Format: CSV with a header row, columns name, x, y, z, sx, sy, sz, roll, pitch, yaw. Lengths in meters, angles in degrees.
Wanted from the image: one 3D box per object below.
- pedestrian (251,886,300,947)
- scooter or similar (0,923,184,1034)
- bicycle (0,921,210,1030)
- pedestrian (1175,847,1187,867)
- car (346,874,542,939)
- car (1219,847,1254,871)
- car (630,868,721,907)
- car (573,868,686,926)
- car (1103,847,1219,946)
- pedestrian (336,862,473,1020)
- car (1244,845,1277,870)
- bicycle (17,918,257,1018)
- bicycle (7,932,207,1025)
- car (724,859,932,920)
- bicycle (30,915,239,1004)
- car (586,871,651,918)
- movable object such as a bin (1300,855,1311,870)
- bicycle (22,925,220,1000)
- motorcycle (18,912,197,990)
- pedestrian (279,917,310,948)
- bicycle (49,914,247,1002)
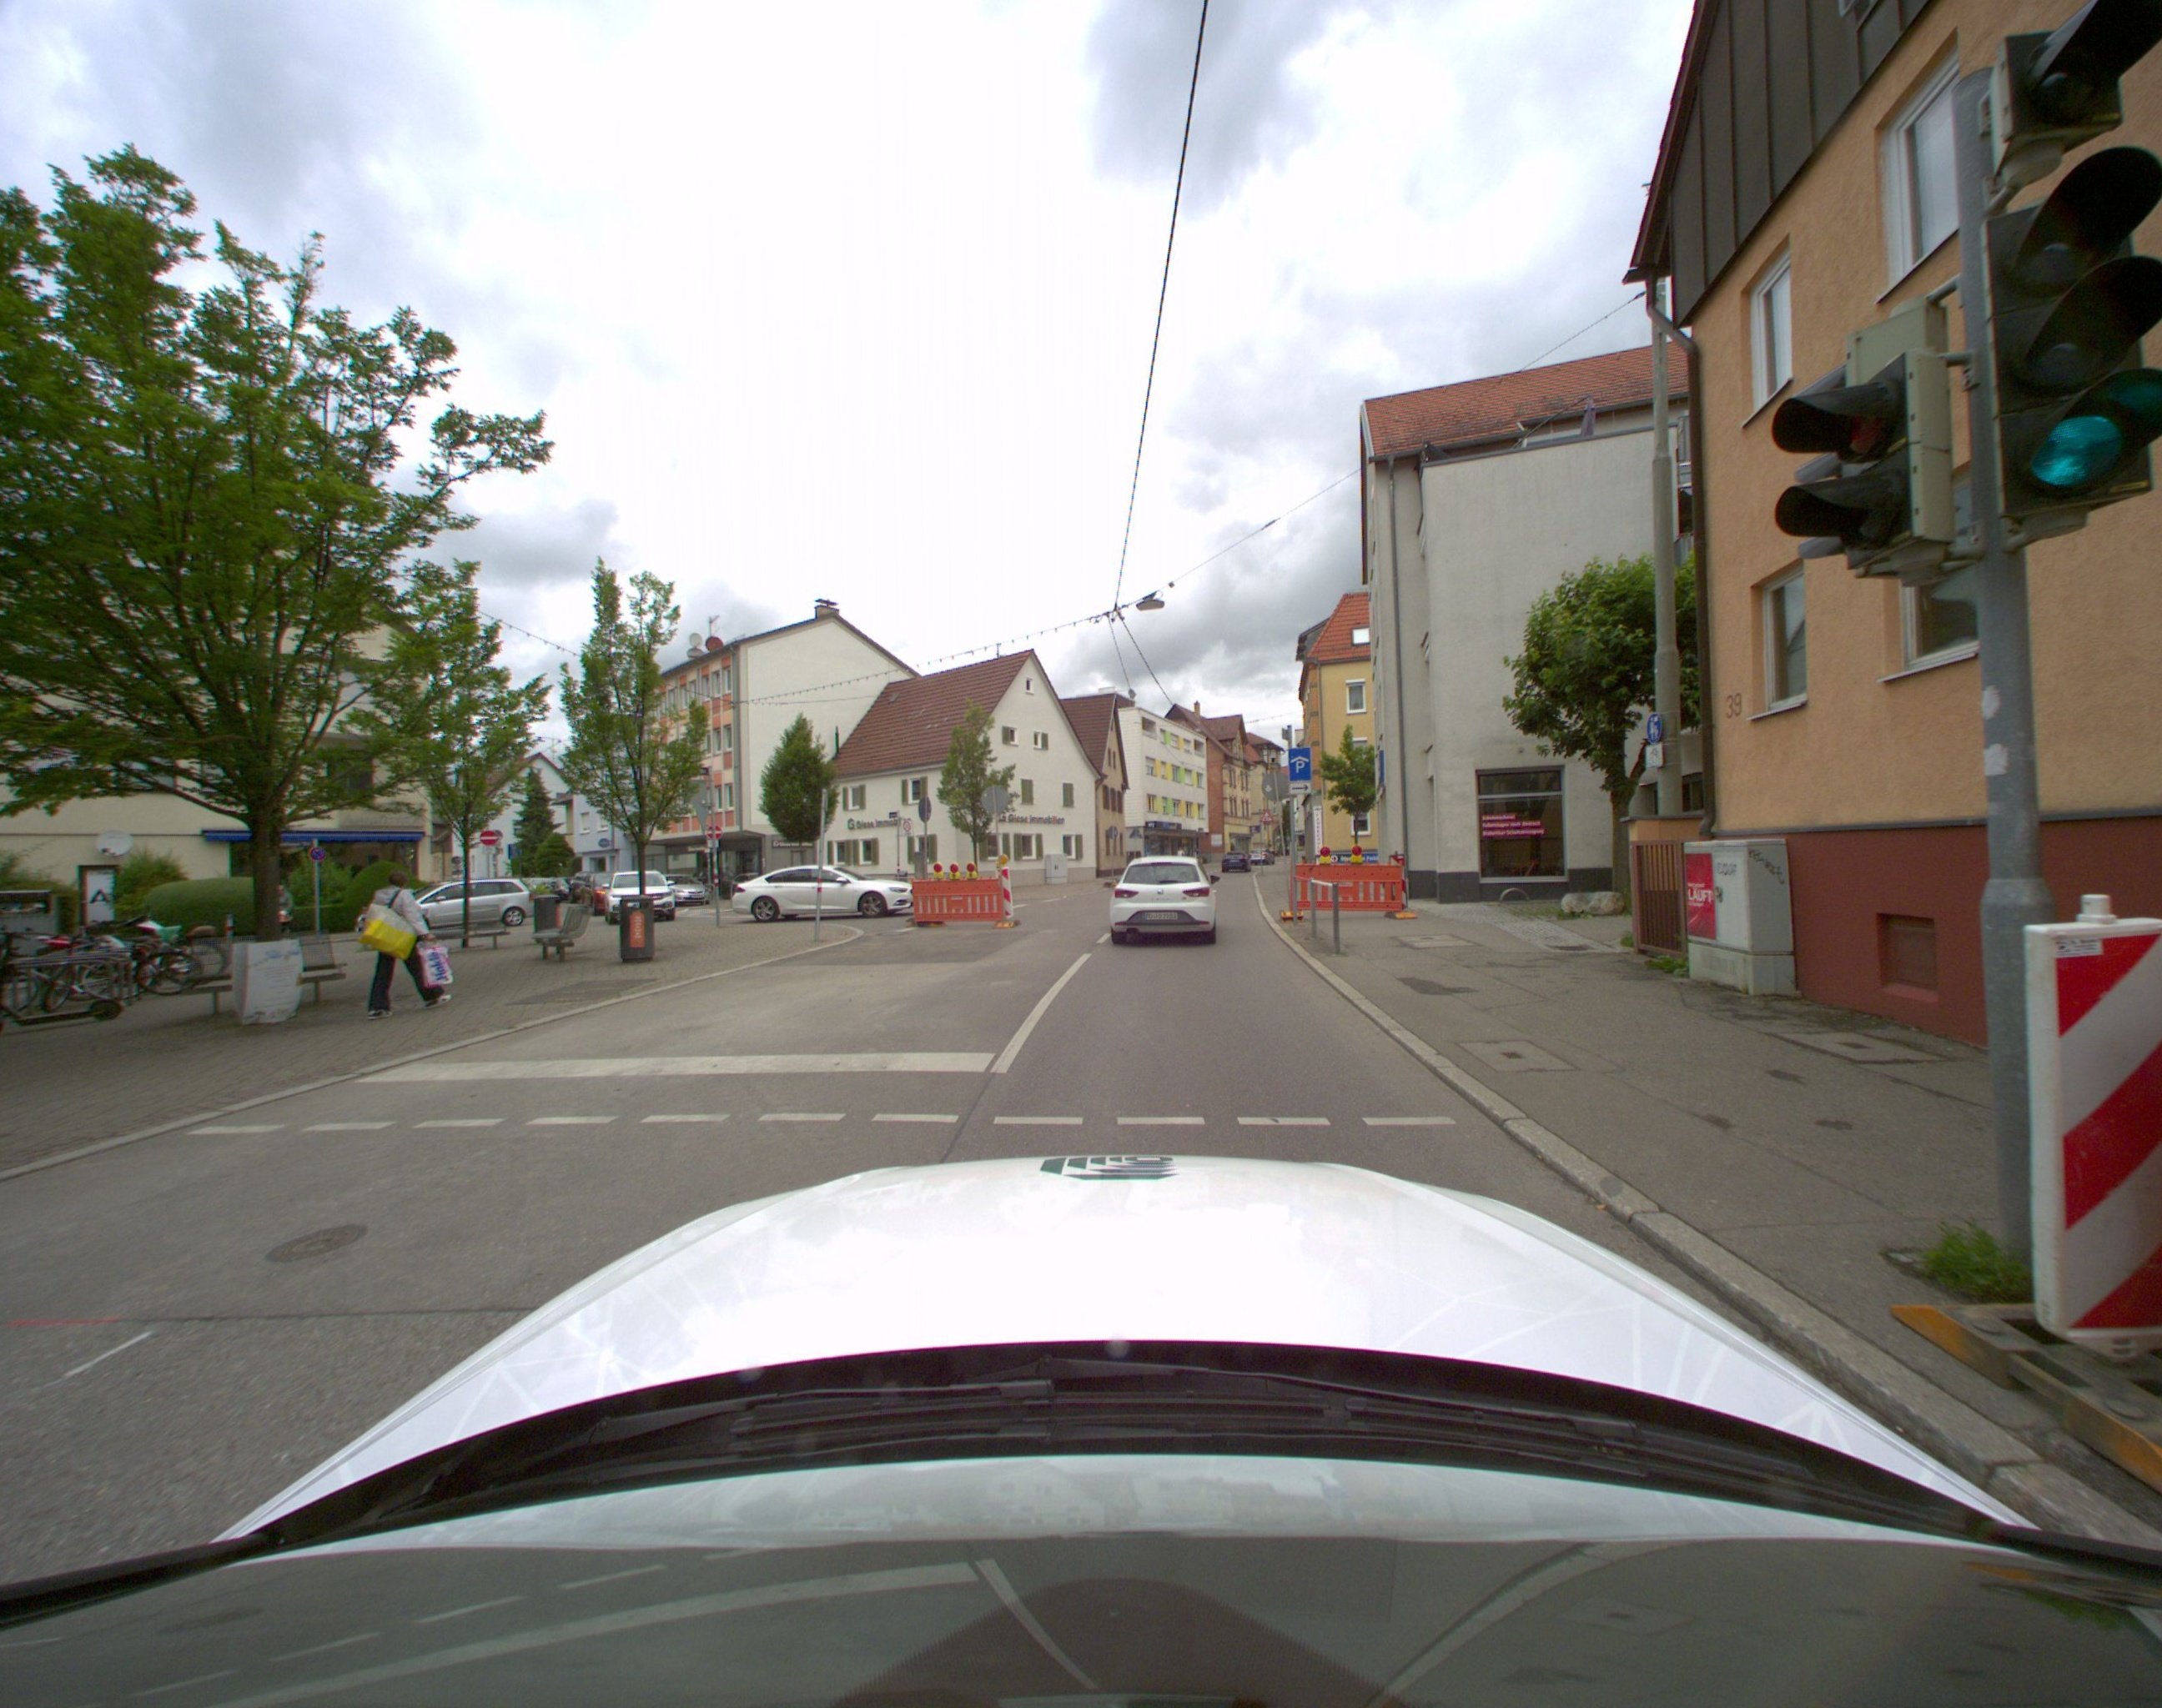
name,x,y,z,sx,sy,sz,roll,pitch,yaw
pedestrian,-23.071,1.770,23.340,0.773,1.669,0.944,-2,-1,-34
scooter or similar,-12.154,1.482,9.967,0.590,1.123,1.542,-2,0,43
bicycle,-12.646,1.523,10.565,0.524,1.046,1.756,-3,3,42
pedestrian,8.403,0.263,68.449,0.887,1.665,0.864,-2,0,10
car,-19.690,1.571,25.402,1.975,1.640,4.354,-3,0,27
car,10.539,0.309,55.139,1.797,1.480,3.889,-2,1,18
car,-18.314,1.458,36.666,4.856,1.557,2.034,-1,0,42
car,-14.065,1.240,25.213,2.032,1.557,4.860,-1,0,-42
car,1.570,0.636,14.691,1.800,1.480,3.881,0,1,10
pedestrian,-7.329,0.907,8.848,0.675,1.592,0.884,-2,0,21
car,15.694,0.286,71.111,1.976,2.013,4.022,-2,0,23
bicycle,-13.523,1.590,11.779,0.741,1.046,2.165,-3,1,42
bicycle,-13.175,1.655,11.098,0.490,0.882,1.640,-3,4,42
car,-6.736,0.924,22.126,4.885,1.477,2.250,-1,0,1
bicycle,-15.447,1.678,13.370,0.684,1.060,2.140,-1,3,39
car,-18.392,1.531,32.275,2.028,1.557,4.869,-1,0,-32
movable object such as a bin,14.360,0.527,52.152,0.615,0.921,0.584,-2,0,17
bicycle,-16.129,1.788,13.760,0.620,0.866,2.088,-1,3,39
motorcycle,-17.087,1.658,14.365,0.792,1.104,1.967,-3,0,39
pedestrian,-22.308,2.213,23.097,0.448,0.799,0.578,-3,-1,43
bicycle,-14.686,1.594,12.922,0.801,1.074,1.973,-3,1,44
